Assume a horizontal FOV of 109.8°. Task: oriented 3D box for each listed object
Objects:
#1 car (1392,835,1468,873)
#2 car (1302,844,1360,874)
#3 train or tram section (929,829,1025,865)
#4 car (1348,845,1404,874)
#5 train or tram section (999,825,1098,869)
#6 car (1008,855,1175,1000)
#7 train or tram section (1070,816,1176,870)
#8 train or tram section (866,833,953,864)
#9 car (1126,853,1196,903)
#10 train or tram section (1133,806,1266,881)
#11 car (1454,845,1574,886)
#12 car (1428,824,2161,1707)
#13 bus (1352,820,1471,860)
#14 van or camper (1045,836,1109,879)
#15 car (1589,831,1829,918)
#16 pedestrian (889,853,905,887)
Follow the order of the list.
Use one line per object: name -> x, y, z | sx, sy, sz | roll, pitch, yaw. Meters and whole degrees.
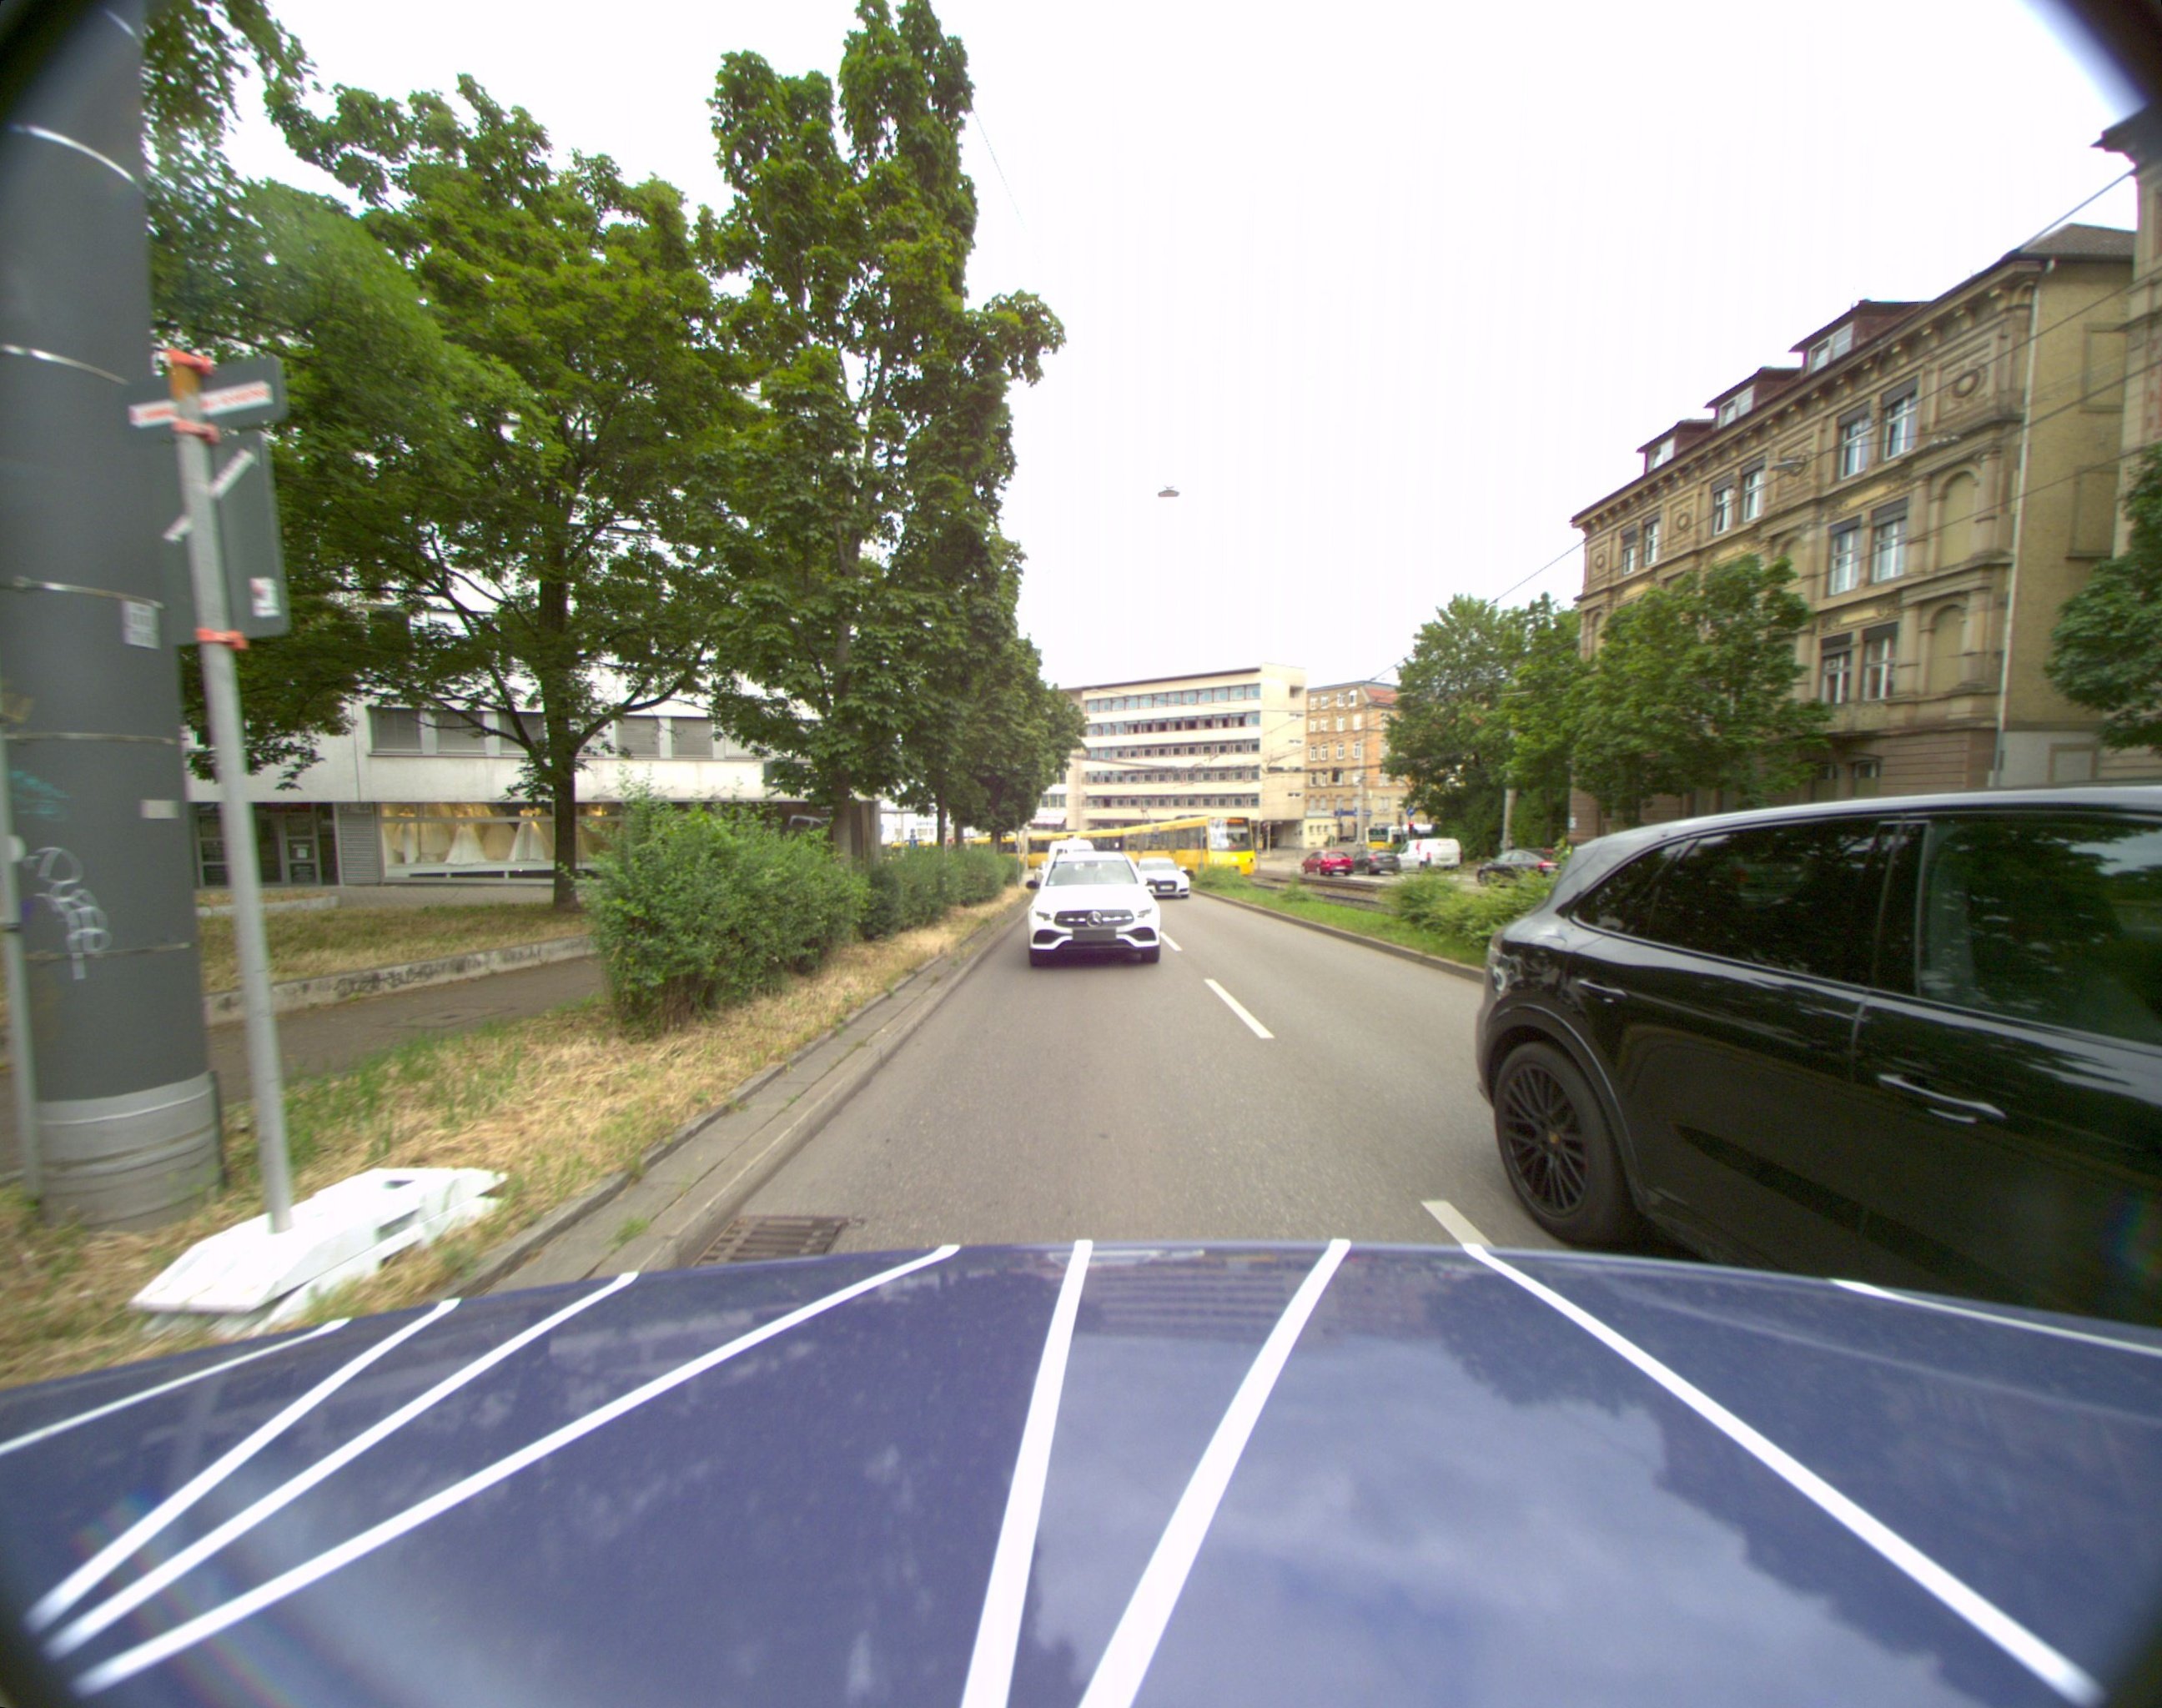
car -> 19.270, -0.074, 42.220 | 1.998, 1.839, 4.991 | -2, 2, 1
car -> 14.146, 0.221, 43.278 | 1.998, 1.510, 4.405 | 1, 2, 3
train or tram section -> -11.811, -0.754, 84.357 | 2.937, 3.540, 14.188 | -6, 4, -41
car -> 16.531, 0.268, 42.808 | 1.746, 1.419, 4.406 | -2, 1, 5
train or tram section -> -3.480, -0.690, 72.894 | 2.895, 3.644, 14.194 | -4, 3, -31
car -> 0.164, 0.897, 11.540 | 1.935, 1.622, 4.773 | -3, 0, 1
train or tram section -> 2.838, -0.865, 59.213 | 2.893, 3.643, 14.204 | -3, 2, -19
train or tram section -> -21.564, -0.587, 94.525 | 14.189, 3.423, 2.895 | -1, 4, 43
car -> 2.890, 0.824, 28.437 | 1.897, 1.467, 4.528 | -3, 2, -2
train or tram section -> 6.481, -0.677, 45.367 | 2.891, 3.643, 14.457 | -3, 2, -11
car -> 16.487, 0.388, 29.272 | 1.824, 1.442, 4.946 | 0, 0, 0
car -> 2.663, 0.804, 1.237 | 2.032, 1.675, 4.779 | -1, 2, 0
bus -> 29.101, -1.266, 66.673 | 11.565, 3.012, 3.382 | -3, 1, -31
van or camper -> -0.377, 0.136, 50.405 | 2.211, 2.544, 6.361 | -4, 3, -19
car -> 14.527, 0.416, 18.002 | 1.884, 1.777, 4.516 | 1, 0, -1
pedestrian -> -9.723, 0.845, 40.187 | 0.676, 1.784, 0.607 | -3, 1, -19
